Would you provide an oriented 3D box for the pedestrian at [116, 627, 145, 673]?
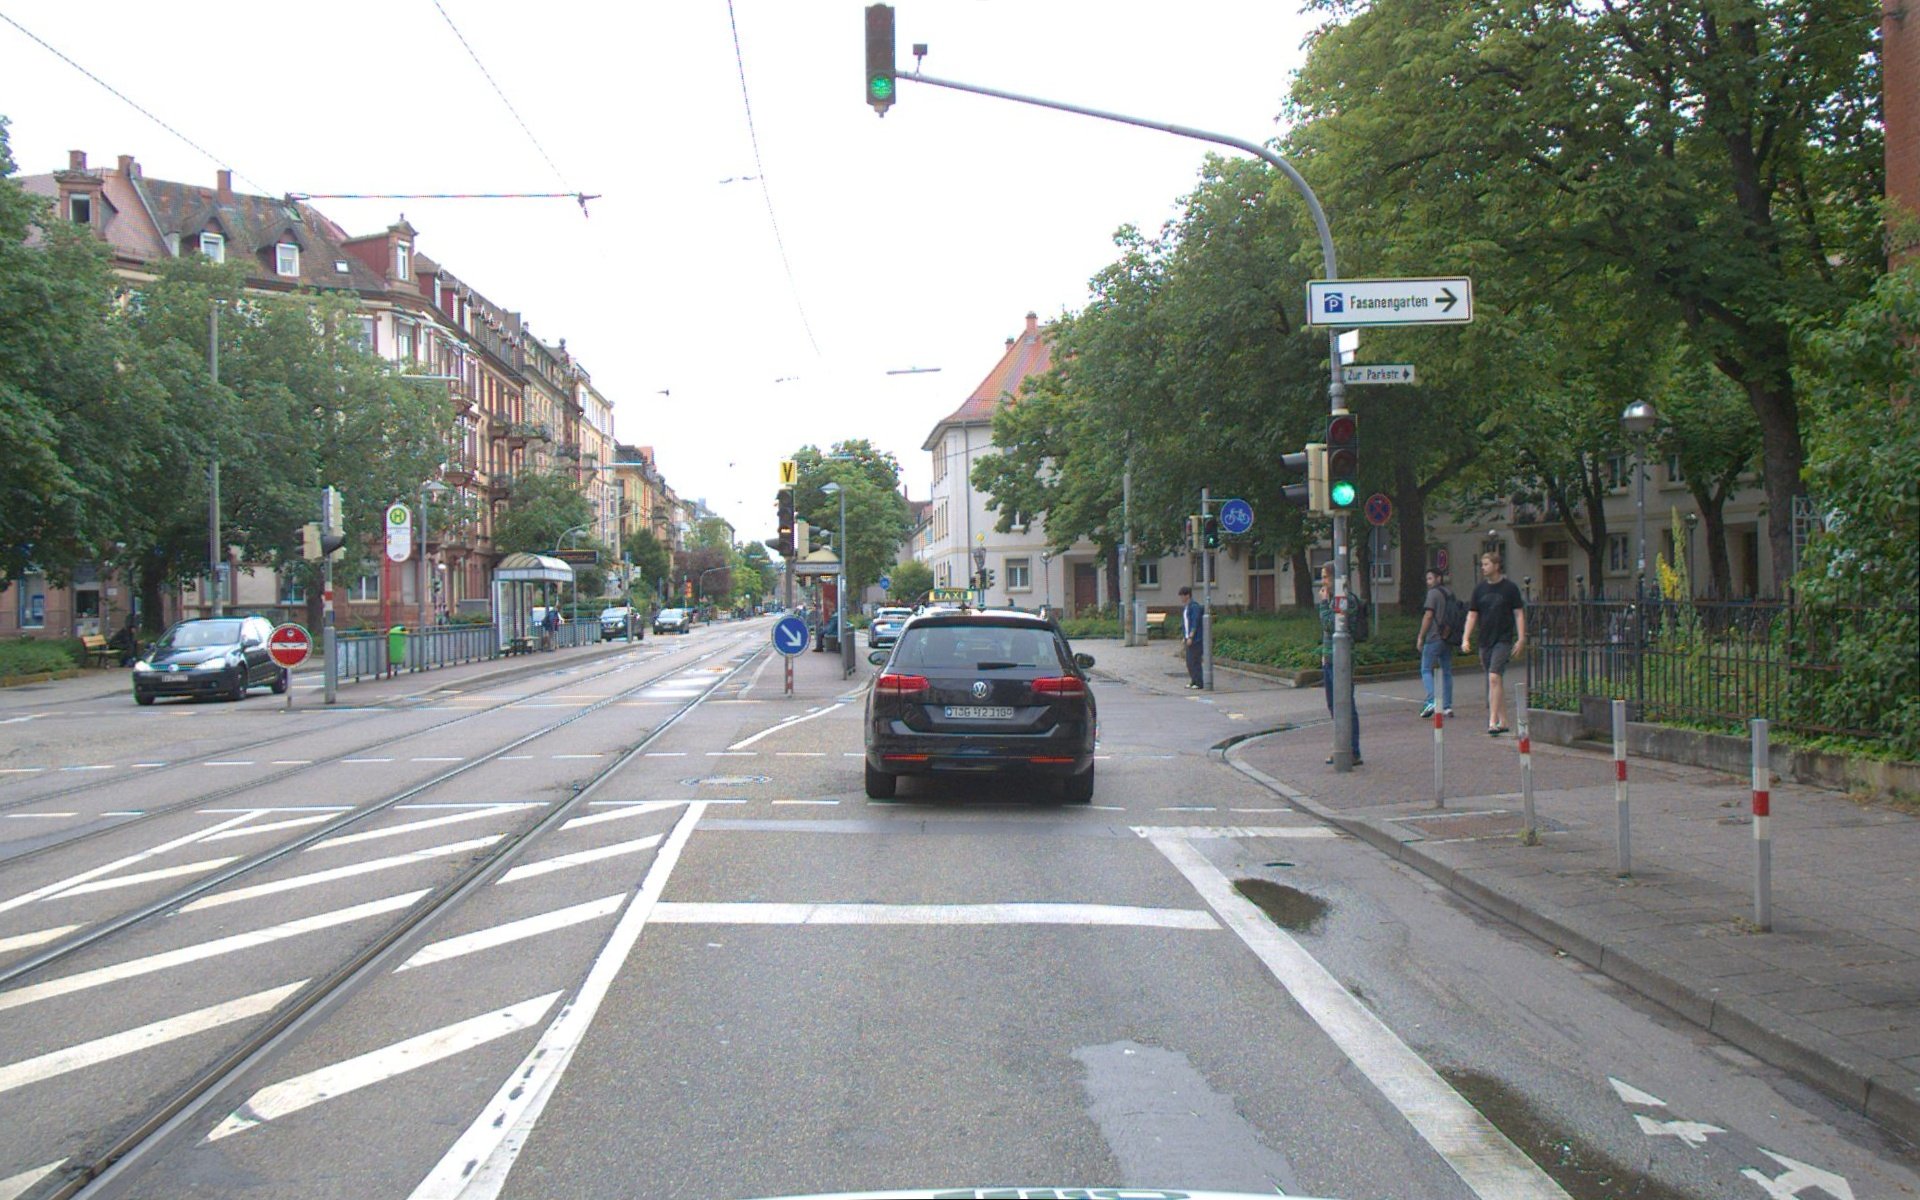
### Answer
[{"bbox_3d":[-22.151,1.326,44.180,0.582,1.189,0.835,-1,-1,-34],"label":"pedestrian"}]

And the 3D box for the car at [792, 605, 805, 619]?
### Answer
[{"bbox_3d":[-25.022,1.885,256.802,1.993,2.049,3.996,0,-1,-5],"label":"car"}]

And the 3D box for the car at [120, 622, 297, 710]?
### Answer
[{"bbox_3d":[-13.414,1.128,29.762,1.653,1.407,3.853,-1,0,-5],"label":"car"}]

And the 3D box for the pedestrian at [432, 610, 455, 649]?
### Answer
[{"bbox_3d":[-20.640,1.165,66.144,0.577,1.547,0.647,-1,-1,31],"label":"pedestrian"}]

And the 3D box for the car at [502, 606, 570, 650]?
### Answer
[{"bbox_3d":[-16.636,1.085,65.107,1.759,1.624,3.998,-1,0,-2],"label":"car"}]

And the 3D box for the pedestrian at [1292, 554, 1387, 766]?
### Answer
[{"bbox_3d":[3.469,0.536,15.163,0.574,1.862,0.603,-4,0,-4],"label":"pedestrian"}]

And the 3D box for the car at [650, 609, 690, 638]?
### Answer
[{"bbox_3d":[-17.095,1.363,97.474,1.759,1.624,3.998,-1,0,-2],"label":"car"}]

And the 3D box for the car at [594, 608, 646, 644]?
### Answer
[{"bbox_3d":[-16.132,1.205,78.626,1.759,1.624,3.998,-1,0,-2],"label":"car"}]

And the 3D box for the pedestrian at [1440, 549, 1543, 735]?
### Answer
[{"bbox_3d":[5.505,0.425,17.138,0.787,1.863,0.648,-2,-1,44],"label":"pedestrian"}]

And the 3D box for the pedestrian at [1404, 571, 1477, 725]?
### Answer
[{"bbox_3d":[5.894,0.582,20.309,0.619,1.846,0.726,-1,0,-2],"label":"pedestrian"}]

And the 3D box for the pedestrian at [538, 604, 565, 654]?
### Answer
[{"bbox_3d":[-13.022,0.920,52.739,0.700,1.547,0.589,-1,0,-3],"label":"pedestrian"}]

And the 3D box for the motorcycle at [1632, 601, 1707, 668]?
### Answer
[{"bbox_3d":[13.901,0.662,32.386,1.886,1.257,0.442,-1,0,-36],"label":"motorcycle"}]

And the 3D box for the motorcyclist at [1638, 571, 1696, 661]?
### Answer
[{"bbox_3d":[13.816,0.315,32.319,0.795,1.722,0.696,-1,0,-36],"label":"motorcyclist"}]

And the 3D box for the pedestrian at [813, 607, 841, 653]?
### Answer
[{"bbox_3d":[-3.963,0.893,49.247,0.807,1.327,0.568,-1,0,-6],"label":"pedestrian"}]

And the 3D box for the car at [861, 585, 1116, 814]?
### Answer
[{"bbox_3d":[0.087,0.696,13.588,1.690,1.573,3.996,-1,0,-5],"label":"car"}]

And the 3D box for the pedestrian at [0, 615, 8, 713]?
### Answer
[{"bbox_3d":[-16.947,1.106,28.422,0.820,1.692,0.590,-1,0,-4],"label":"pedestrian"}]

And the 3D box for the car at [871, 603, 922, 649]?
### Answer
[{"bbox_3d":[-2.328,0.925,59.854,1.690,1.573,3.996,-1,0,-5],"label":"car"}]

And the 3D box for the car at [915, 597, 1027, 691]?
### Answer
[{"bbox_3d":[0.144,0.753,30.271,1.690,1.573,3.996,-1,0,-5],"label":"car"}]

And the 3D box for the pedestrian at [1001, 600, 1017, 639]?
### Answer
[{"bbox_3d":[1.980,0.796,66.999,0.570,1.581,0.609,-1,0,-2],"label":"pedestrian"}]

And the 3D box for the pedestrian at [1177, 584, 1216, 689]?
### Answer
[{"bbox_3d":[4.320,0.667,30.261,0.504,1.862,0.417,-4,0,-4],"label":"pedestrian"}]
